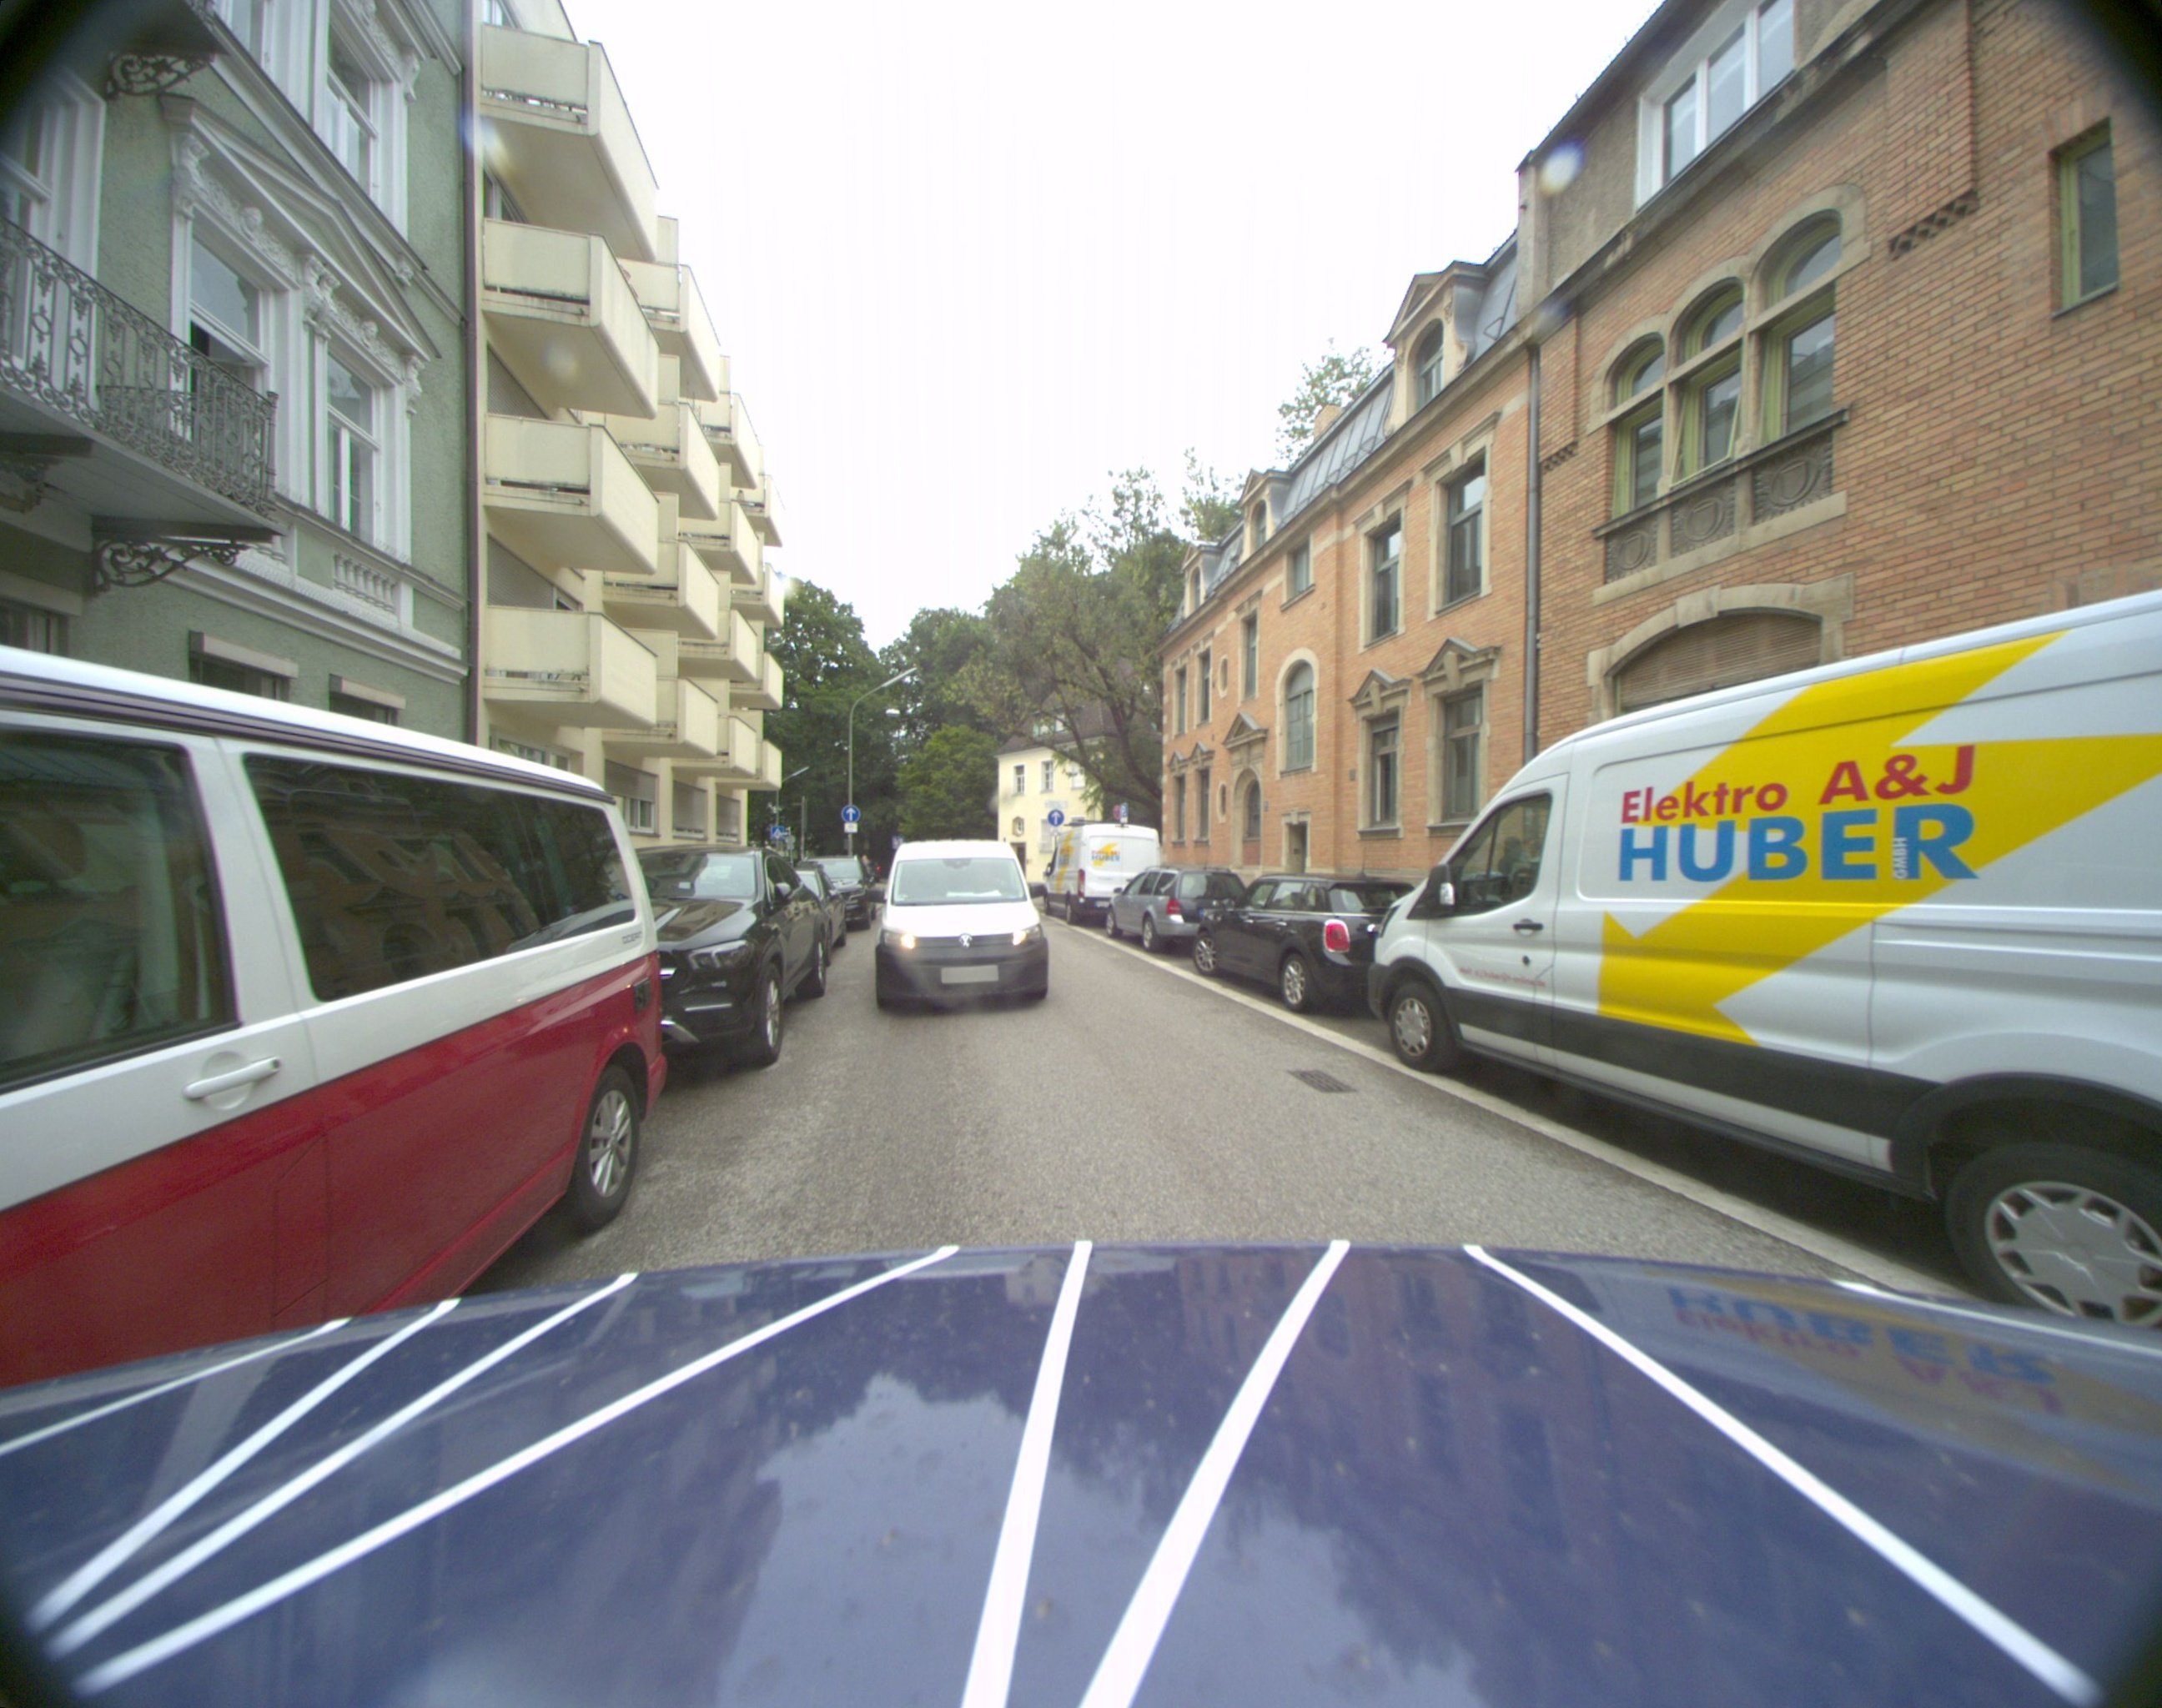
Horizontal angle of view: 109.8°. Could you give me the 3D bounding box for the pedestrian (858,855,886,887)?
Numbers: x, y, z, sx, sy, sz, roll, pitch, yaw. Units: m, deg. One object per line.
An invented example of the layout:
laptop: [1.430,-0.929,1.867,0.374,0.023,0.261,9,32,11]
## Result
pedestrian: [-11.984,0.961,43.523,1.079,1.789,1.090,-3,2,-44]

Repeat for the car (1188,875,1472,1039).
car: [2.618,1.019,8.873,1.528,1.434,3.537,2,-1,-12]

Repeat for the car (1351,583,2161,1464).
car: [3.714,0.491,3.816,1.988,2.463,5.217,2,0,-11]

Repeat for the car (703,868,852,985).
car: [-4.748,1.021,12.389,1.552,1.488,3.973,-2,0,-12]

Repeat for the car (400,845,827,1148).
car: [-3.564,0.862,6.902,1.834,1.747,4.549,-2,0,-12]

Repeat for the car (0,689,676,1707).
car: [-2.584,0.729,1.439,1.860,1.885,4.587,-2,0,-11]

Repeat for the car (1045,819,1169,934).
car: [0.513,0.547,19.499,2.121,2.525,4.417,3,-1,-11]

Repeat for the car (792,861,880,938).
car: [-5.730,0.980,18.123,1.552,1.562,3.973,-2,0,-12]

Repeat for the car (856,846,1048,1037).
car: [-1.579,0.815,9.180,1.778,1.761,3.996,-1,0,-11]

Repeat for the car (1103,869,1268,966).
car: [1.728,1.057,13.960,1.696,1.434,3.980,2,-1,-12]
